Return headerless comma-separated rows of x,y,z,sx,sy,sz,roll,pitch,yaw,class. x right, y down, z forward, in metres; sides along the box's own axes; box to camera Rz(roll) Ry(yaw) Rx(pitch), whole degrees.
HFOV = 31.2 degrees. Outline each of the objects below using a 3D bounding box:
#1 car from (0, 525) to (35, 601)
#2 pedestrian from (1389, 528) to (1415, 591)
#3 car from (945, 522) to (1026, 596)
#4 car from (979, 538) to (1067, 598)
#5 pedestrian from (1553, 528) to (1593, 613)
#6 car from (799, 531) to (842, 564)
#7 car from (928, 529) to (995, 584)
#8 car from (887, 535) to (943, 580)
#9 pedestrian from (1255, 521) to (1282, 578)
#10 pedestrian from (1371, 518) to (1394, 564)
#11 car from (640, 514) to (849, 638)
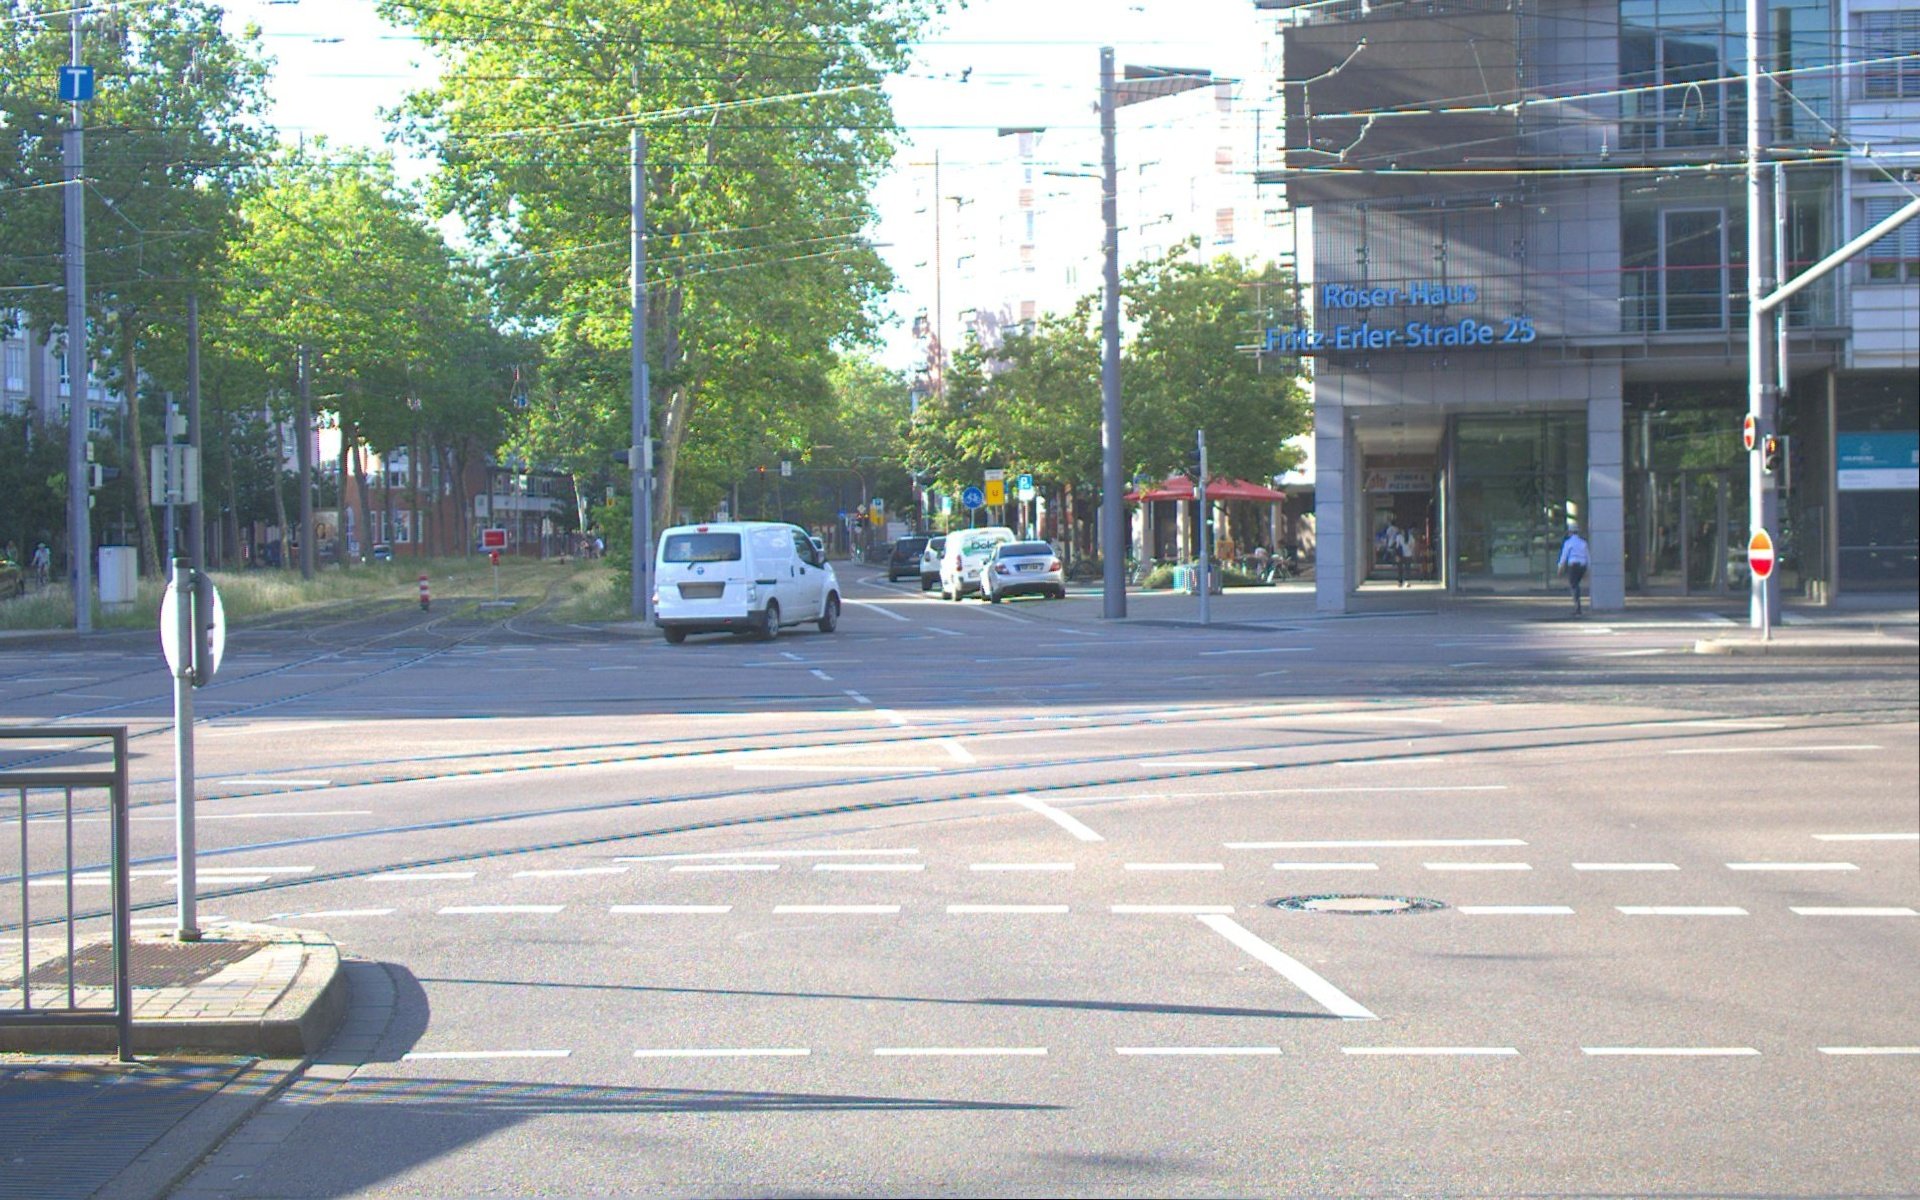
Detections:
-21.669,-0.798,74.919,1.993,1.634,4.000,-1,1,-1,car
10.609,-0.969,82.518,0.612,1.502,0.579,-1,1,7,pedestrian
0.644,-1.091,89.566,1.993,1.853,4.000,-1,1,-1,car
1.489,-0.782,82.771,1.993,1.371,4.000,-1,1,-1,car
11.031,-0.537,61.856,0.612,1.502,0.579,-1,1,2,pedestrian
-6.283,-2.378,154.757,1.797,1.437,4.000,-1,1,-1,car
0.032,-1.353,105.212,1.993,1.612,4.000,-1,1,0,car
-1.647,-1.590,126.662,1.993,1.612,4.000,-1,1,0,car
9.427,-1.538,104.983,0.744,1.708,0.612,-1,1,-1,pedestrian
15.969,-2.226,129.937,0.744,1.708,0.612,-1,1,-1,pedestrian
-3.327,-0.410,54.100,1.757,1.860,4.522,-1,1,17,car
